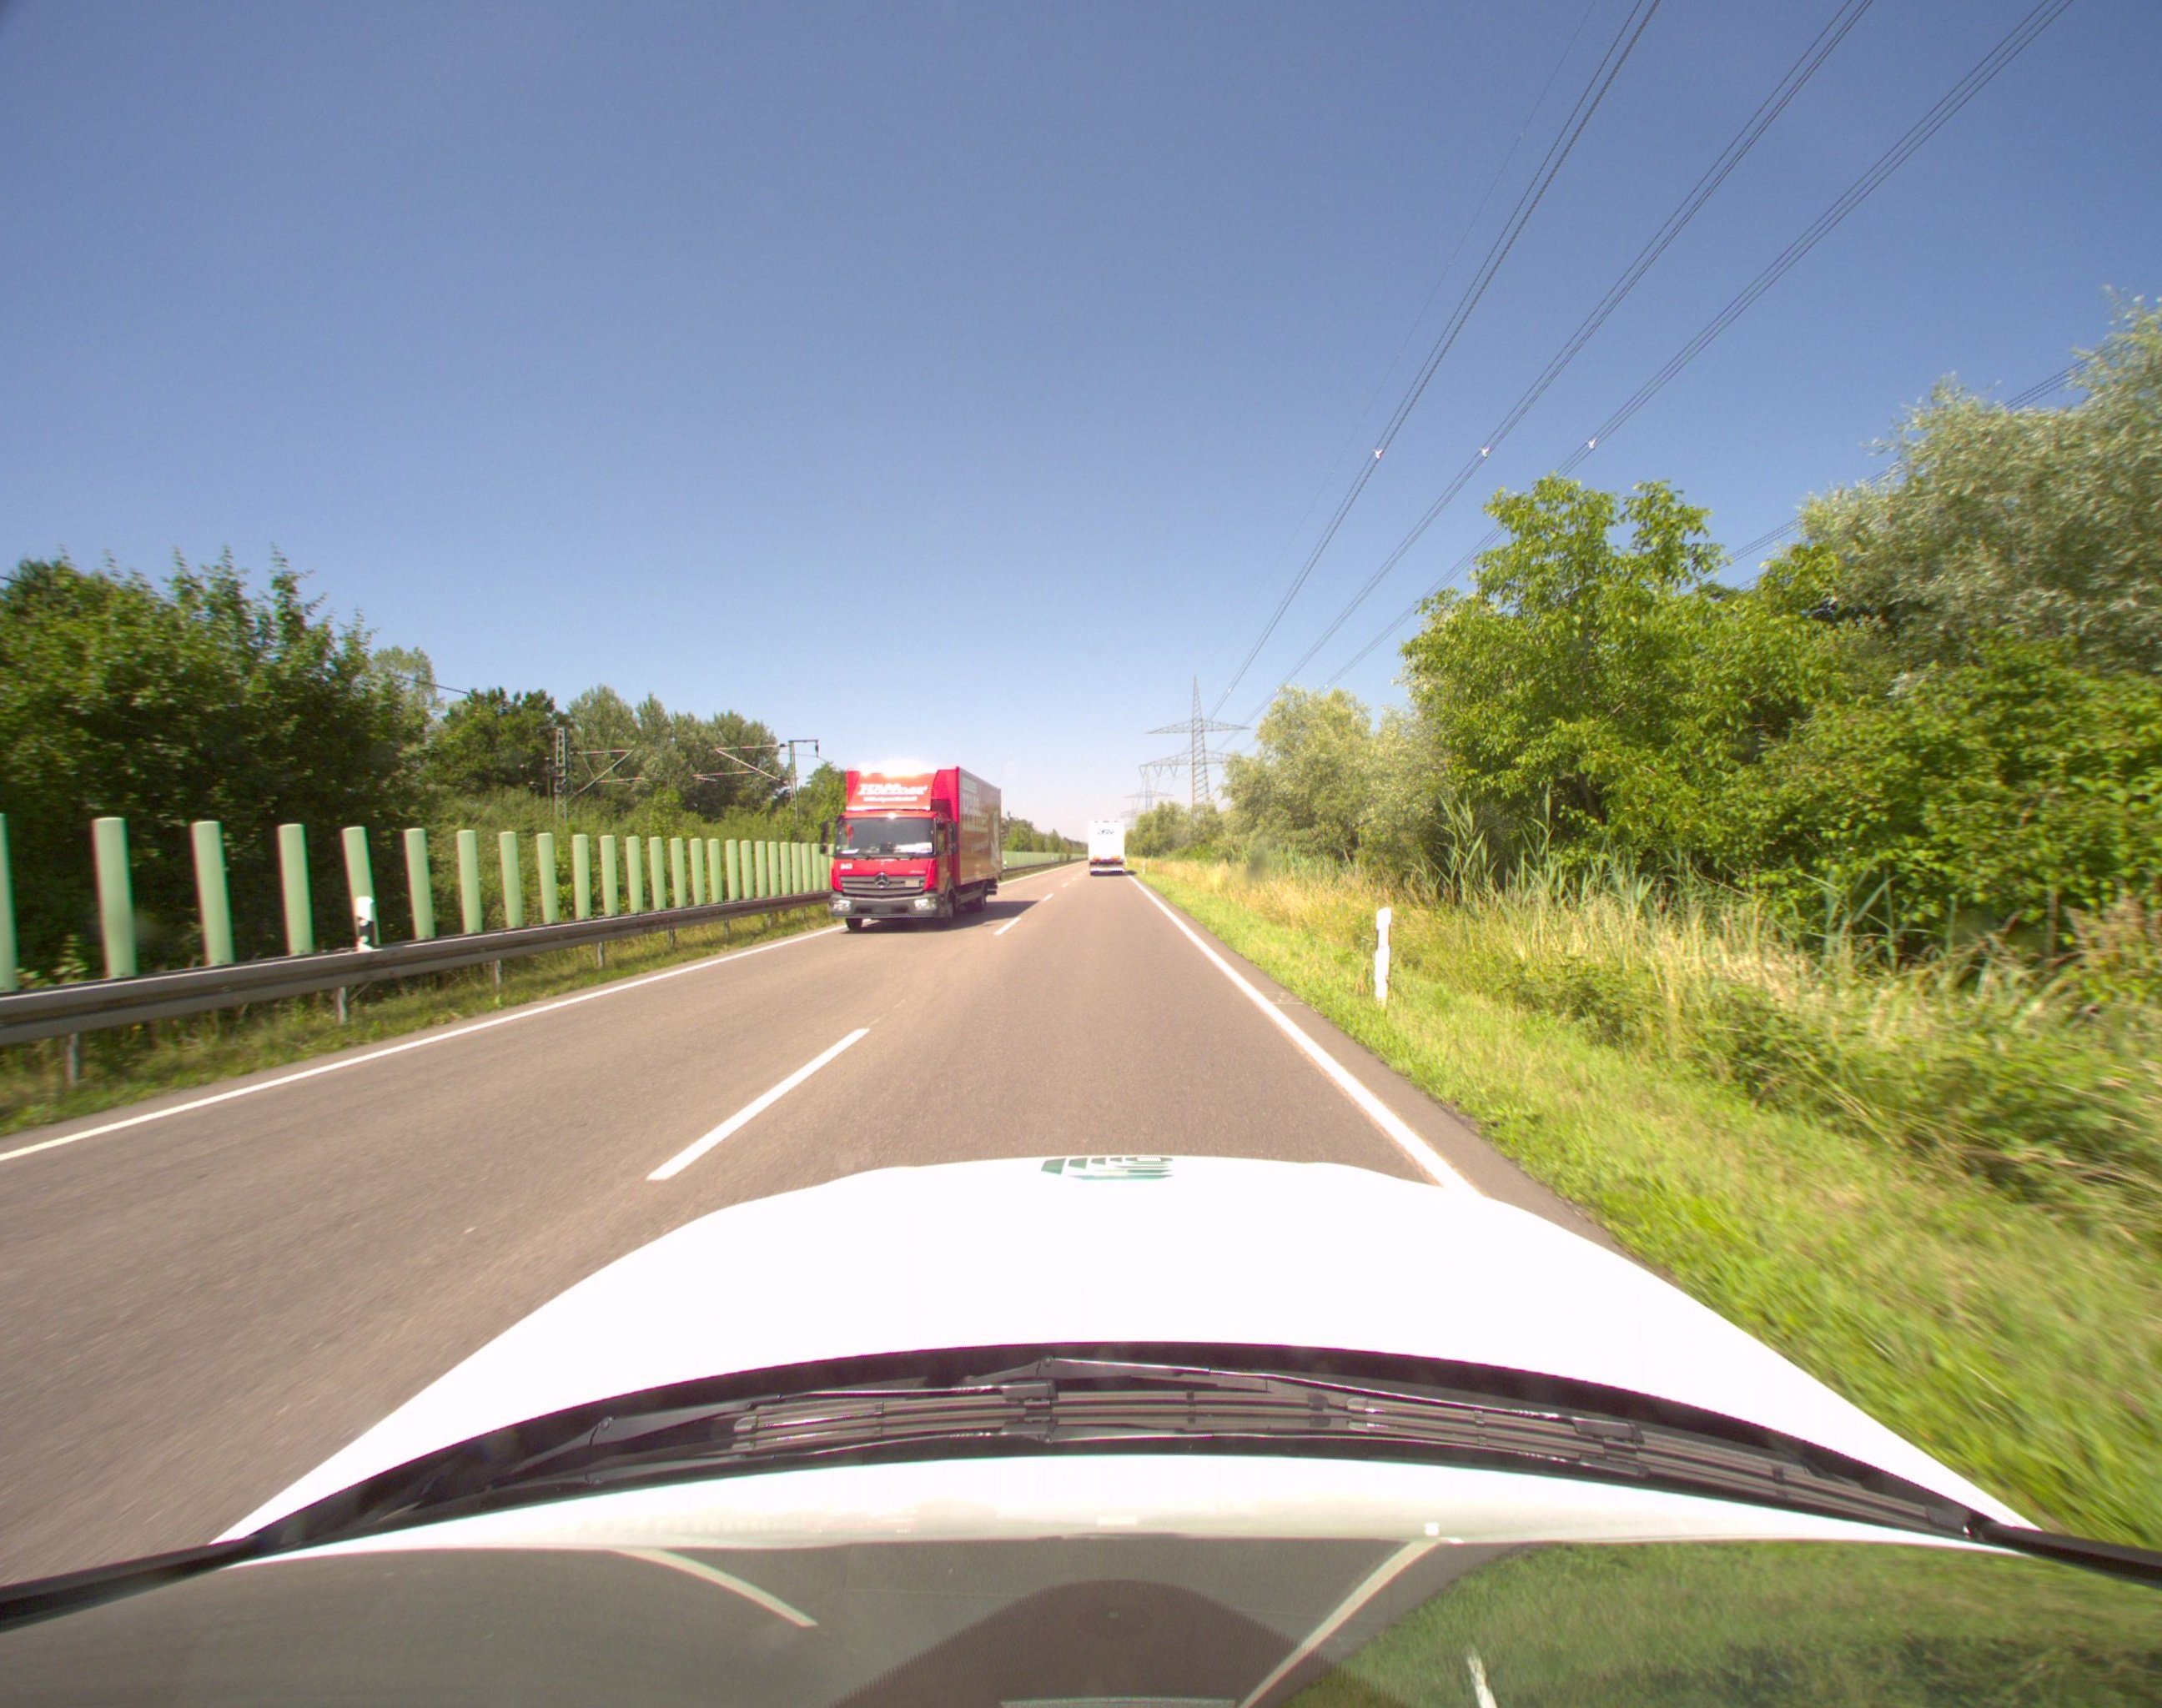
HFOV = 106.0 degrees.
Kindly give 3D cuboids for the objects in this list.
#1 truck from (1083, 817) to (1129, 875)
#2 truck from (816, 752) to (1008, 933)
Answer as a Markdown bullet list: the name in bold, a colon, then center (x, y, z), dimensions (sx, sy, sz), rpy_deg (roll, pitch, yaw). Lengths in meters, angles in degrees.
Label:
- **truck**: center (1.947, -0.594, 63.906), dimensions (3.180, 4.042, 12.010), rpy_deg (-1, 0, 1)
- **truck**: center (-3.869, -0.235, 21.292), dimensions (2.724, 3.599, 9.529), rpy_deg (-1, 0, 1)
